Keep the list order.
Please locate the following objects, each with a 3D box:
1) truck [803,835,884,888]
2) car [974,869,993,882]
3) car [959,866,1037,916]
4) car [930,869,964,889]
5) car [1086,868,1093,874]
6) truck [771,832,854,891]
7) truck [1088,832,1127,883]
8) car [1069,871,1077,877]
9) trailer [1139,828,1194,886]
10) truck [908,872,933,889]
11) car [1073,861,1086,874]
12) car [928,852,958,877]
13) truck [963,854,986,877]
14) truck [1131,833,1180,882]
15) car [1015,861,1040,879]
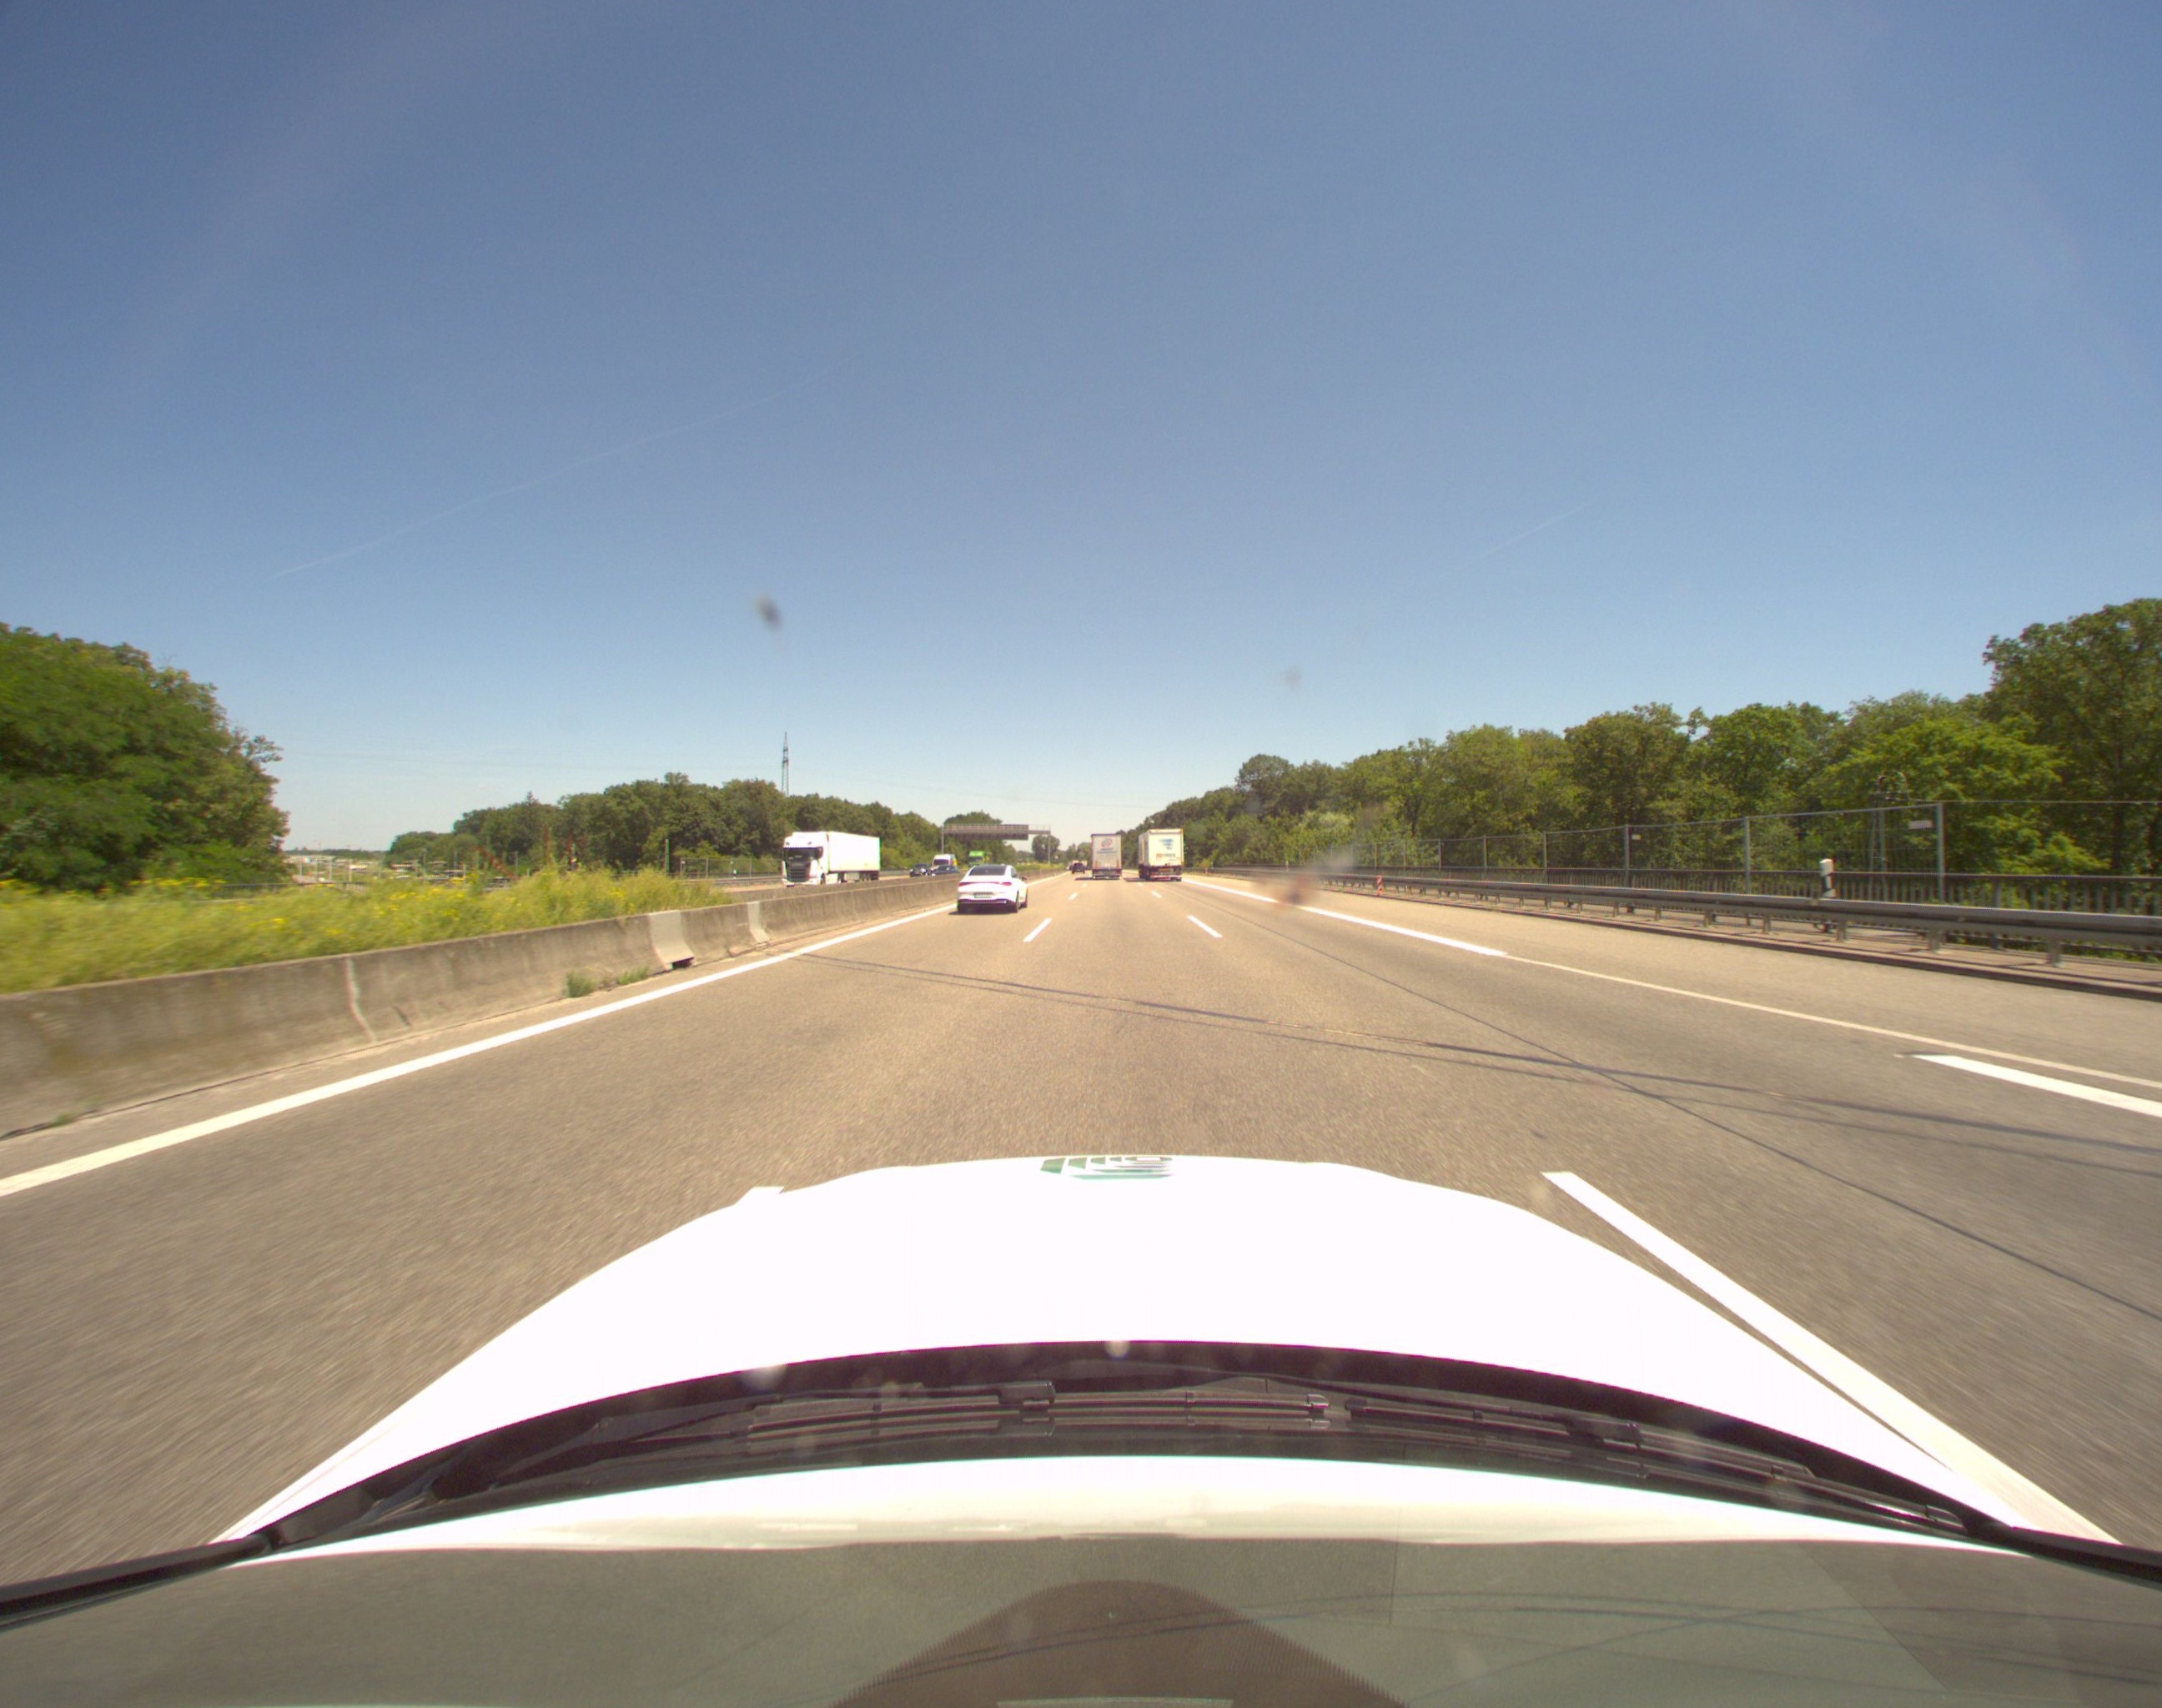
[{"bbox_3d":[-19.277,0.617,67.082,3.037,3.977,11.152,-1,-1,2],"label":"truck"},{"bbox_3d":[-13.688,3.003,114.277,1.993,1.712,4.539,-1,-1,0],"label":"car"},{"bbox_3d":[-2.618,1.135,26.952,1.759,1.448,5.112,-1,-1,3],"label":"car"},{"bbox_3d":[-10.937,2.014,66.781,1.987,1.628,5.014,-1,-1,0],"label":"car"},{"bbox_3d":[2.624,5.203,248.451,1.987,1.596,3.998,-1,-1,-1],"label":"car"},{"bbox_3d":[-19.497,0.560,59.757,3.037,3.977,8.290,-1,-1,2],"label":"truck"},{"bbox_3d":[2.264,0.338,72.131,3.218,4.202,8.466,-1,-1,1],"label":"truck"},{"bbox_3d":[-1.956,4.984,202.560,1.987,1.596,3.998,-1,-1,-1],"label":"car"},{"bbox_3d":[6.491,0.227,63.555,3.356,4.143,9.090,-1,0,0],"label":"trailer"},{"bbox_3d":[-18.561,3.060,94.339,1.987,1.801,4.742,-1,-1,0],"label":"truck"},{"bbox_3d":[-0.230,2.064,124.936,1.987,1.874,3.999,-1,0,0],"label":"car"},{"bbox_3d":[-14.739,1.178,87.257,1.986,2.568,6.129,-1,-1,1],"label":"car"},{"bbox_3d":[-18.908,2.003,145.021,2.911,3.941,6.502,-1,-1,2],"label":"truck"},{"bbox_3d":[6.510,0.266,72.626,3.315,4.053,10.952,-1,0,0],"label":"truck"},{"bbox_3d":[-5.971,1.767,91.704,2.283,2.014,4.714,-1,-1,3],"label":"car"}]
